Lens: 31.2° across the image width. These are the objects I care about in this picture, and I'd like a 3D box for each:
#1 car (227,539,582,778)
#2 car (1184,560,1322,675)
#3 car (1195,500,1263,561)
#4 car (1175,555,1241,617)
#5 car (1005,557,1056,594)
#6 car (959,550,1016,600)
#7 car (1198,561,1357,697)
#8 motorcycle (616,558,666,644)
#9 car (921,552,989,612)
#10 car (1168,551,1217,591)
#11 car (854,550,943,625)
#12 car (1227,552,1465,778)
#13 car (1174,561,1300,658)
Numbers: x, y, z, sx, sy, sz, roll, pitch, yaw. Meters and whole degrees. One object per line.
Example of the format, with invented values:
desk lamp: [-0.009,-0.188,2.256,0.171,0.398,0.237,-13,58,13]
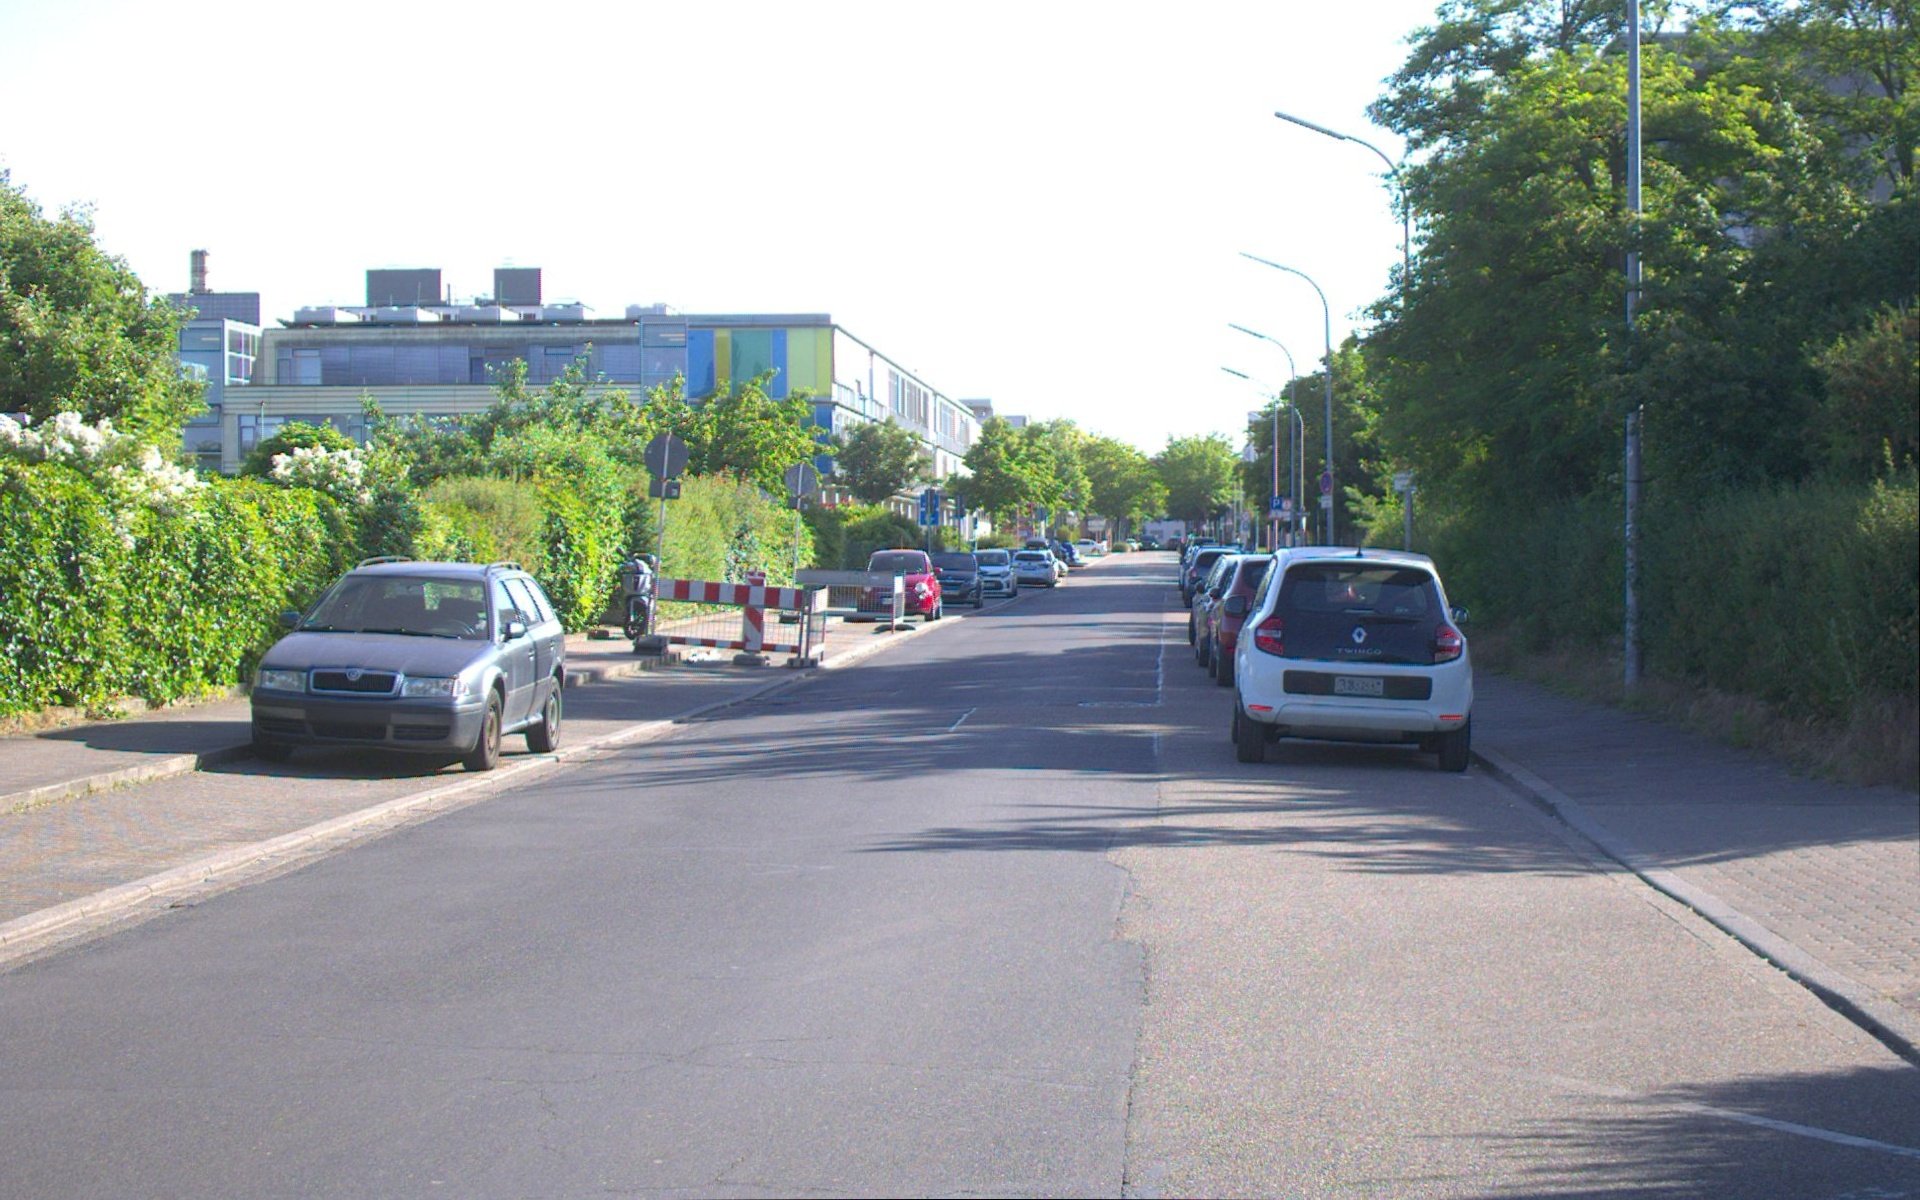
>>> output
car: [-4.088,0.373,25.968,1.644,1.551,4.417,4,1,3]
car: [3.927,0.198,46.611,1.655,1.440,4.656,1,1,3]
car: [7.356,-1.898,94.228,1.676,1.603,4.178,1,1,3]
car: [6.399,-0.385,88.480,1.623,1.521,3.901,1,1,4]
car: [2.827,-1.000,137.080,1.854,1.423,4.134,1,1,3]
car: [0.877,-0.788,107.852,1.560,1.489,3.758,-1,1,3]
car: [3.691,0.304,40.447,1.655,1.481,3.838,1,1,3]
motorcycle: [-4.804,0.016,51.875,0.566,1.264,2.091,0,0,0]
car: [-0.108,-0.490,90.839,1.560,1.489,3.570,2,1,3]
car: [8.630,-1.095,127.792,1.742,1.423,4.134,1,1,3]
car: [-1.277,-0.280,72.502,1.560,1.489,3.570,-1,1,3]
car: [2.817,0.429,25.652,1.556,1.533,3.555,1,1,4]
car: [4.297,0.115,53.862,1.754,1.408,4.656,1,1,2]
